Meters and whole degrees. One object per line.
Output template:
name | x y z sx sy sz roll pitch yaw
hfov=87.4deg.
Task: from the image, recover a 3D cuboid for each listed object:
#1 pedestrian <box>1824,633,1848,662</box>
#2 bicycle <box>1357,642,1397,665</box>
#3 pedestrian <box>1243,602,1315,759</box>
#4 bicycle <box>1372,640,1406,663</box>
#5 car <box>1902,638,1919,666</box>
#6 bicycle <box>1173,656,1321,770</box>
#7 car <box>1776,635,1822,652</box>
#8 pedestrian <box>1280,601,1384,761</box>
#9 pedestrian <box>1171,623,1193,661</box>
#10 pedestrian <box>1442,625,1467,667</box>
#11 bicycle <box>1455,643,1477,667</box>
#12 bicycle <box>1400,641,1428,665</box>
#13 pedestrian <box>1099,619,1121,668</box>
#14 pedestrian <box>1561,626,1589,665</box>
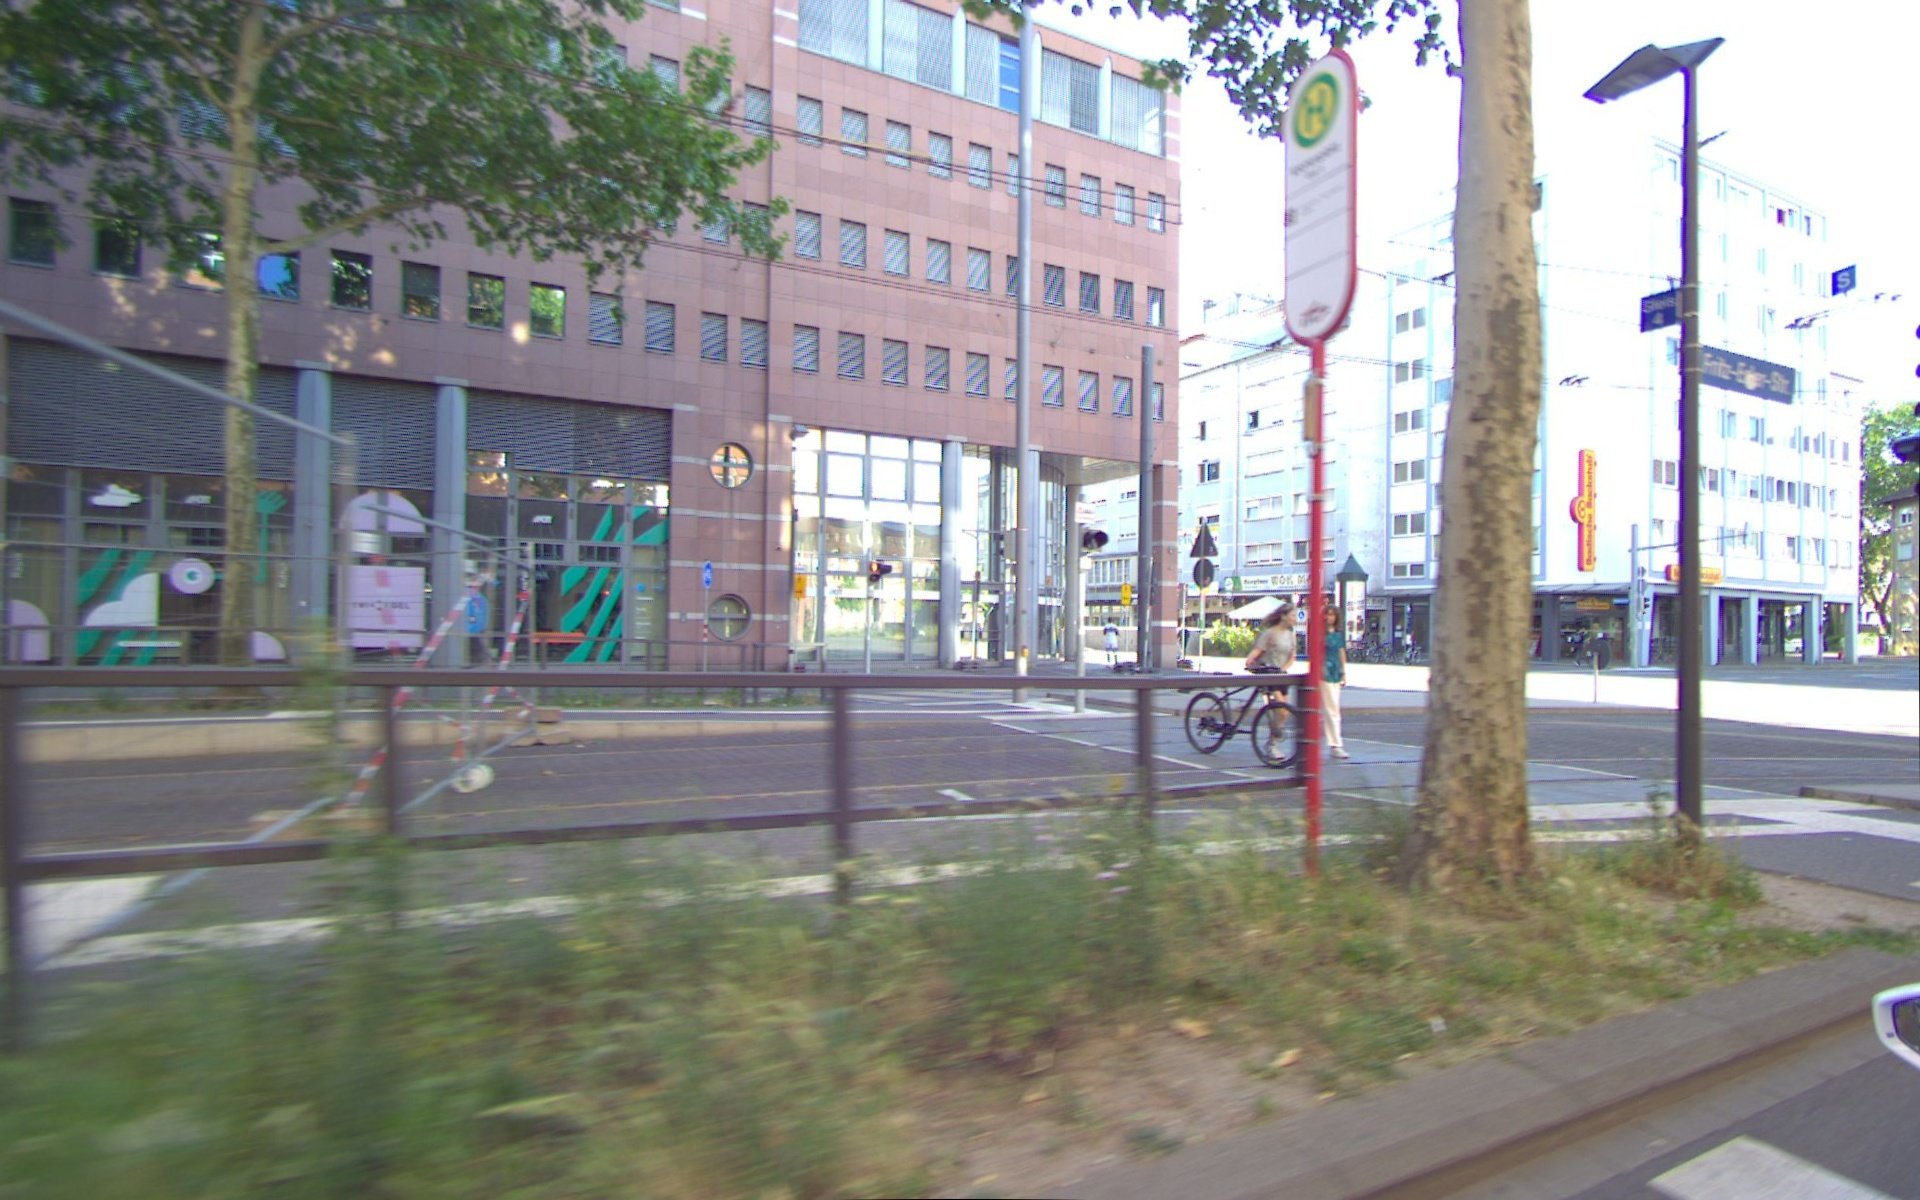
pedestrian | 52.531 2.842 60.240 0.791 1.747 0.777 1 -1 14
bicycle | 20.516 2.633 49.406 1.978 1.067 0.593 1 -1 -24
pedestrian | 3.580 0.882 11.276 0.524 1.702 0.564 1 -1 -27
bicycle | 20.601 2.460 48.264 1.987 1.067 0.590 1 -1 -37
car | 50.410 2.687 51.602 4.544 1.404 1.823 2 -2 -31
bicycle | 3.128 1.197 11.134 0.474 1.093 1.823 1 -1 -26
car | 81.759 4.214 97.937 1.999 1.524 4.095 0 -1 17
pedestrian | 4.289 0.903 11.603 0.839 1.757 0.774 1 -1 -31
pedestrian | 9.966 1.886 45.115 0.866 1.687 0.908 1 -1 7
pedestrian | 21.833 2.038 44.343 0.775 1.815 0.626 1 -1 -27
bicycle | 23.094 2.497 45.844 0.587 1.067 1.999 0 -1 36
bicycle | 21.513 2.500 47.629 0.588 1.067 1.994 0 -1 44
pedestrian | 5.091 1.479 34.158 0.708 1.639 0.642 1 -1 7
pedestrian | 28.088 2.073 45.894 0.766 1.747 0.802 2 -1 -27
